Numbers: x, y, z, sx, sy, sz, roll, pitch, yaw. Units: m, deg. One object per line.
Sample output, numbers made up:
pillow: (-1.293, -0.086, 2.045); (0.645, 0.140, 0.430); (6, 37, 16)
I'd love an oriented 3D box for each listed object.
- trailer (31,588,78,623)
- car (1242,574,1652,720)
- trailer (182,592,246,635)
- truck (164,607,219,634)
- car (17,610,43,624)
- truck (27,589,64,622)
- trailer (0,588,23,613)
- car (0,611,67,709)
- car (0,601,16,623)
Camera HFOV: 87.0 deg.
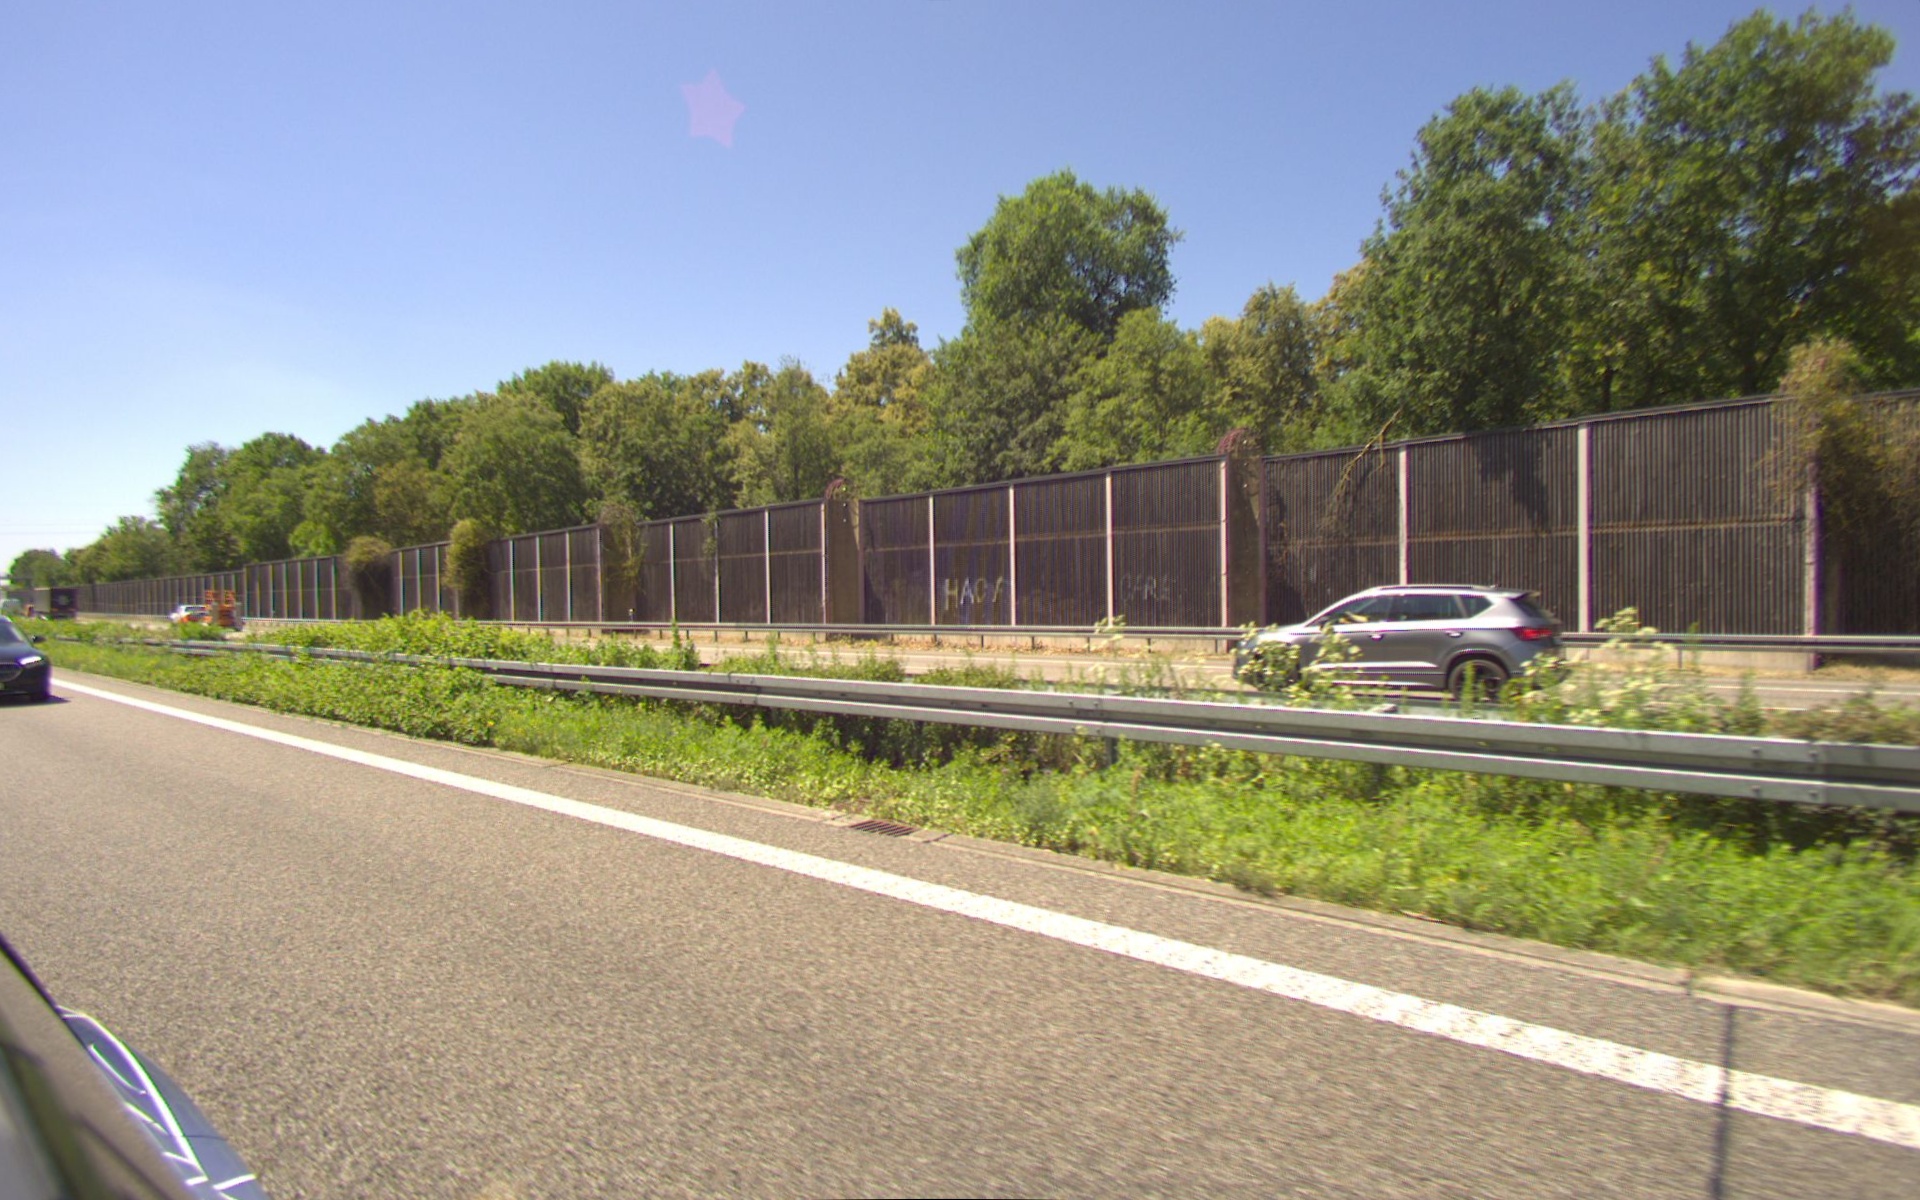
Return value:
trailer: (-111.891, 0.700, 124.949); (13.328, 4.123, 2.868); (0, 0, 42)
car: (6.474, 0.556, 13.754); (4.688, 1.660, 1.974); (-1, 0, 39)
trailer: (-51.426, 0.917, 69.715); (6.506, 2.797, 2.219); (-1, 0, 41)
truck: (-56.190, 1.486, 73.946); (6.208, 1.830, 2.079); (-1, 0, 42)
car: (-131.268, 2.436, 142.823); (5.957, 1.895, 1.973); (-1, 0, 41)
truck: (-117.239, 0.724, 129.704); (6.114, 4.123, 2.869); (-1, 0, 41)
trailer: (-157.784, 0.139, 167.390); (13.803, 4.060, 2.931); (-1, 0, 42)
car: (-17.312, 0.970, 17.484); (5.815, 1.518, 1.924); (-1, 0, 39)
car: (-116.256, 1.471, 122.524); (6.786, 2.559, 2.142); (-1, 1, 41)
